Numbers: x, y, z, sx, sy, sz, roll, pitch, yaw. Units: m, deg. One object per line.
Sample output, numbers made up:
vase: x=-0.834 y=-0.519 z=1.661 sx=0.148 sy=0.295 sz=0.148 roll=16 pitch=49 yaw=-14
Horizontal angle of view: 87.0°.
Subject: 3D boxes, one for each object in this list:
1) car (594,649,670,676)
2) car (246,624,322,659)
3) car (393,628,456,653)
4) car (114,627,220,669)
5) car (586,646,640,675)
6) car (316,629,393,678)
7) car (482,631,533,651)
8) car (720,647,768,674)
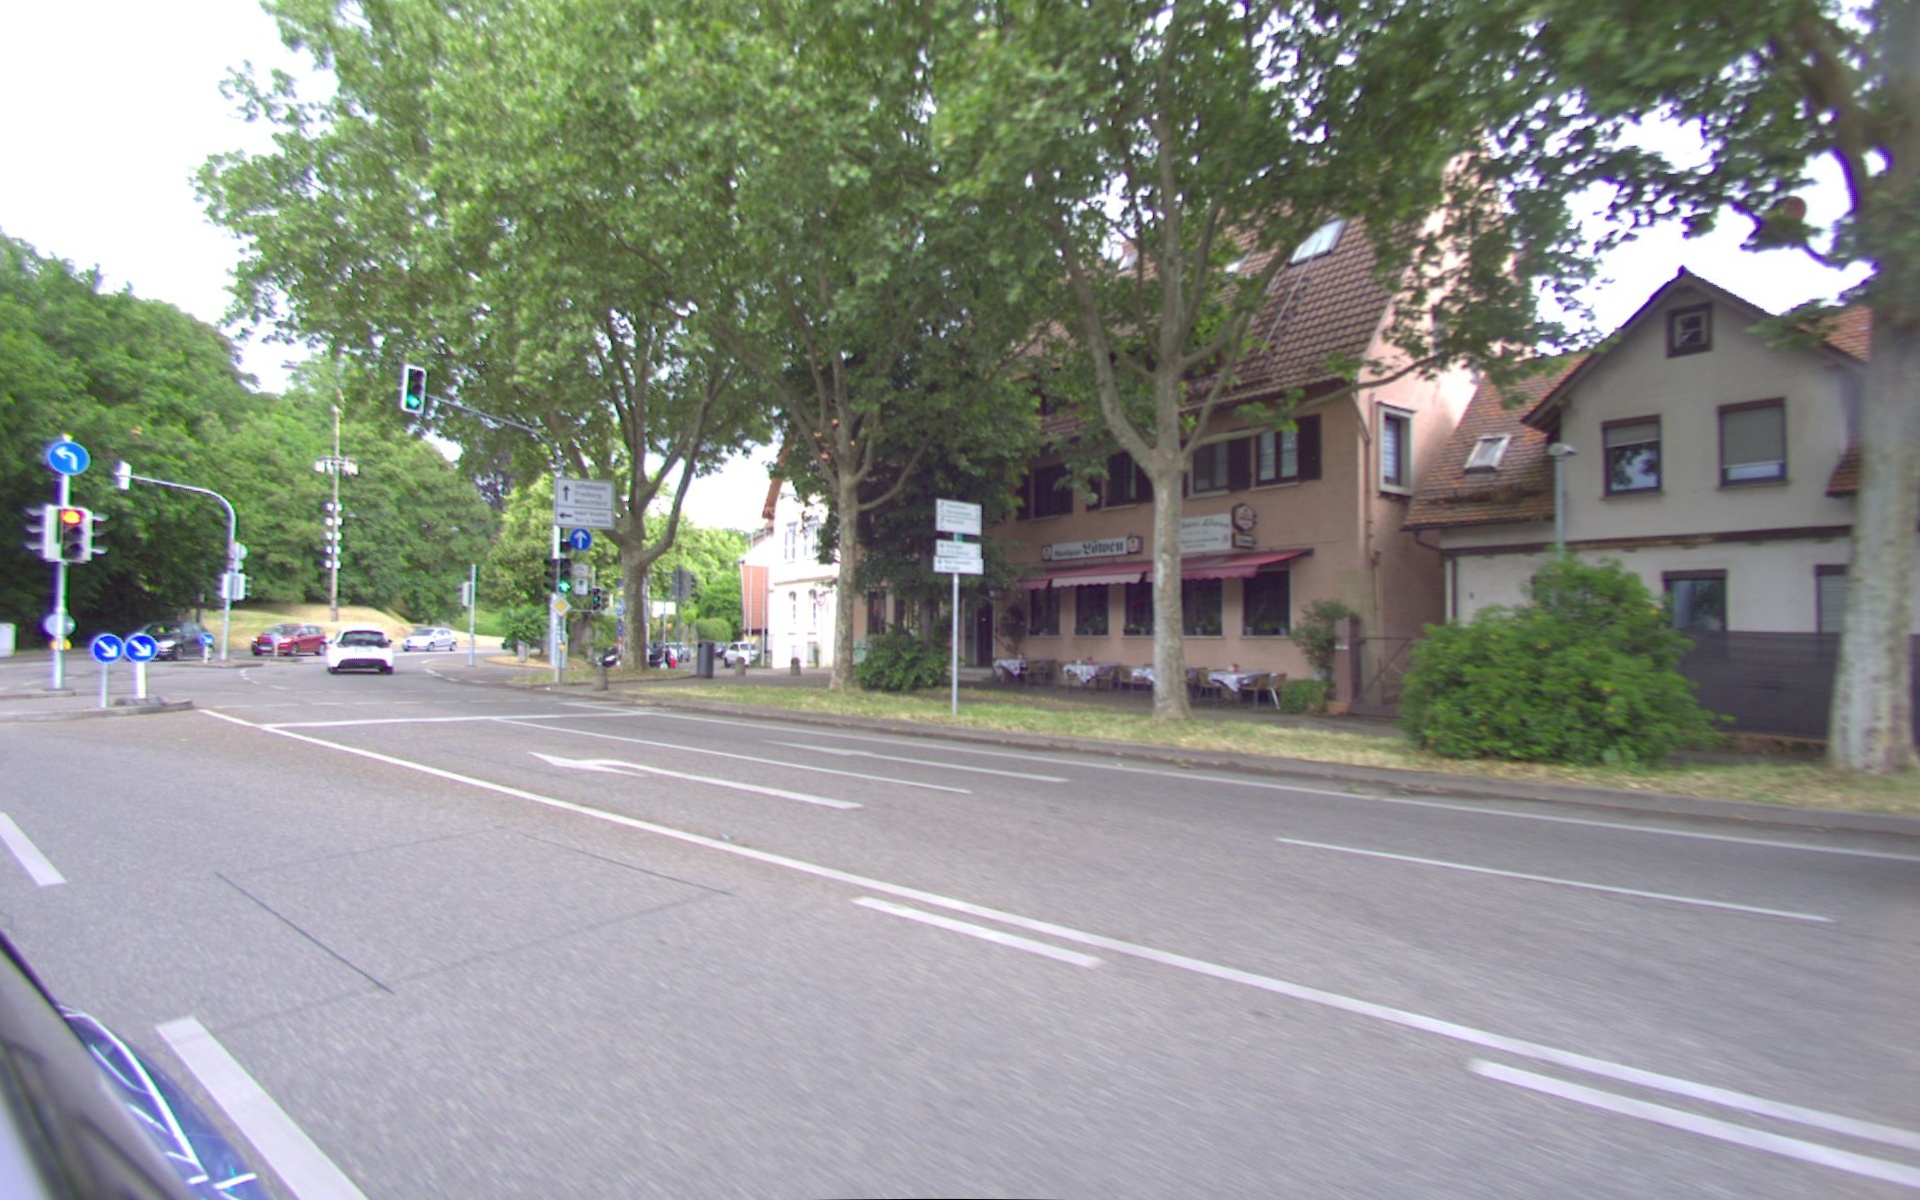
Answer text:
car: x=-17.883 y=3.405 z=55.247 sx=3.574 sy=1.364 sz=1.601 roll=3 pitch=-3 yaw=-43
car: x=-34.135 y=2.084 z=51.240 sx=1.649 sy=1.654 sz=4.109 roll=1 pitch=-2 yaw=-10
car: x=-35.420 y=2.687 z=67.072 sx=1.762 sy=1.581 sz=3.993 roll=1 pitch=-2 yaw=6
car: x=-31.499 y=1.887 z=40.352 sx=1.703 sy=1.532 sz=4.009 roll=2 pitch=-2 yaw=-12
car: x=-16.713 y=2.937 z=48.874 sx=1.463 sy=1.320 sz=3.400 roll=2 pitch=-4 yaw=-1
car: x=-19.852 y=1.722 z=33.098 sx=1.739 sy=1.477 sz=4.031 roll=4 pitch=-3 yaw=-36
car: x=-35.564 y=3.248 z=79.676 sx=1.834 sy=1.469 sz=3.989 roll=1 pitch=-2 yaw=8
car: x=-12.954 y=3.626 z=60.667 sx=1.626 sy=1.503 sz=3.491 roll=2 pitch=-3 yaw=-34
